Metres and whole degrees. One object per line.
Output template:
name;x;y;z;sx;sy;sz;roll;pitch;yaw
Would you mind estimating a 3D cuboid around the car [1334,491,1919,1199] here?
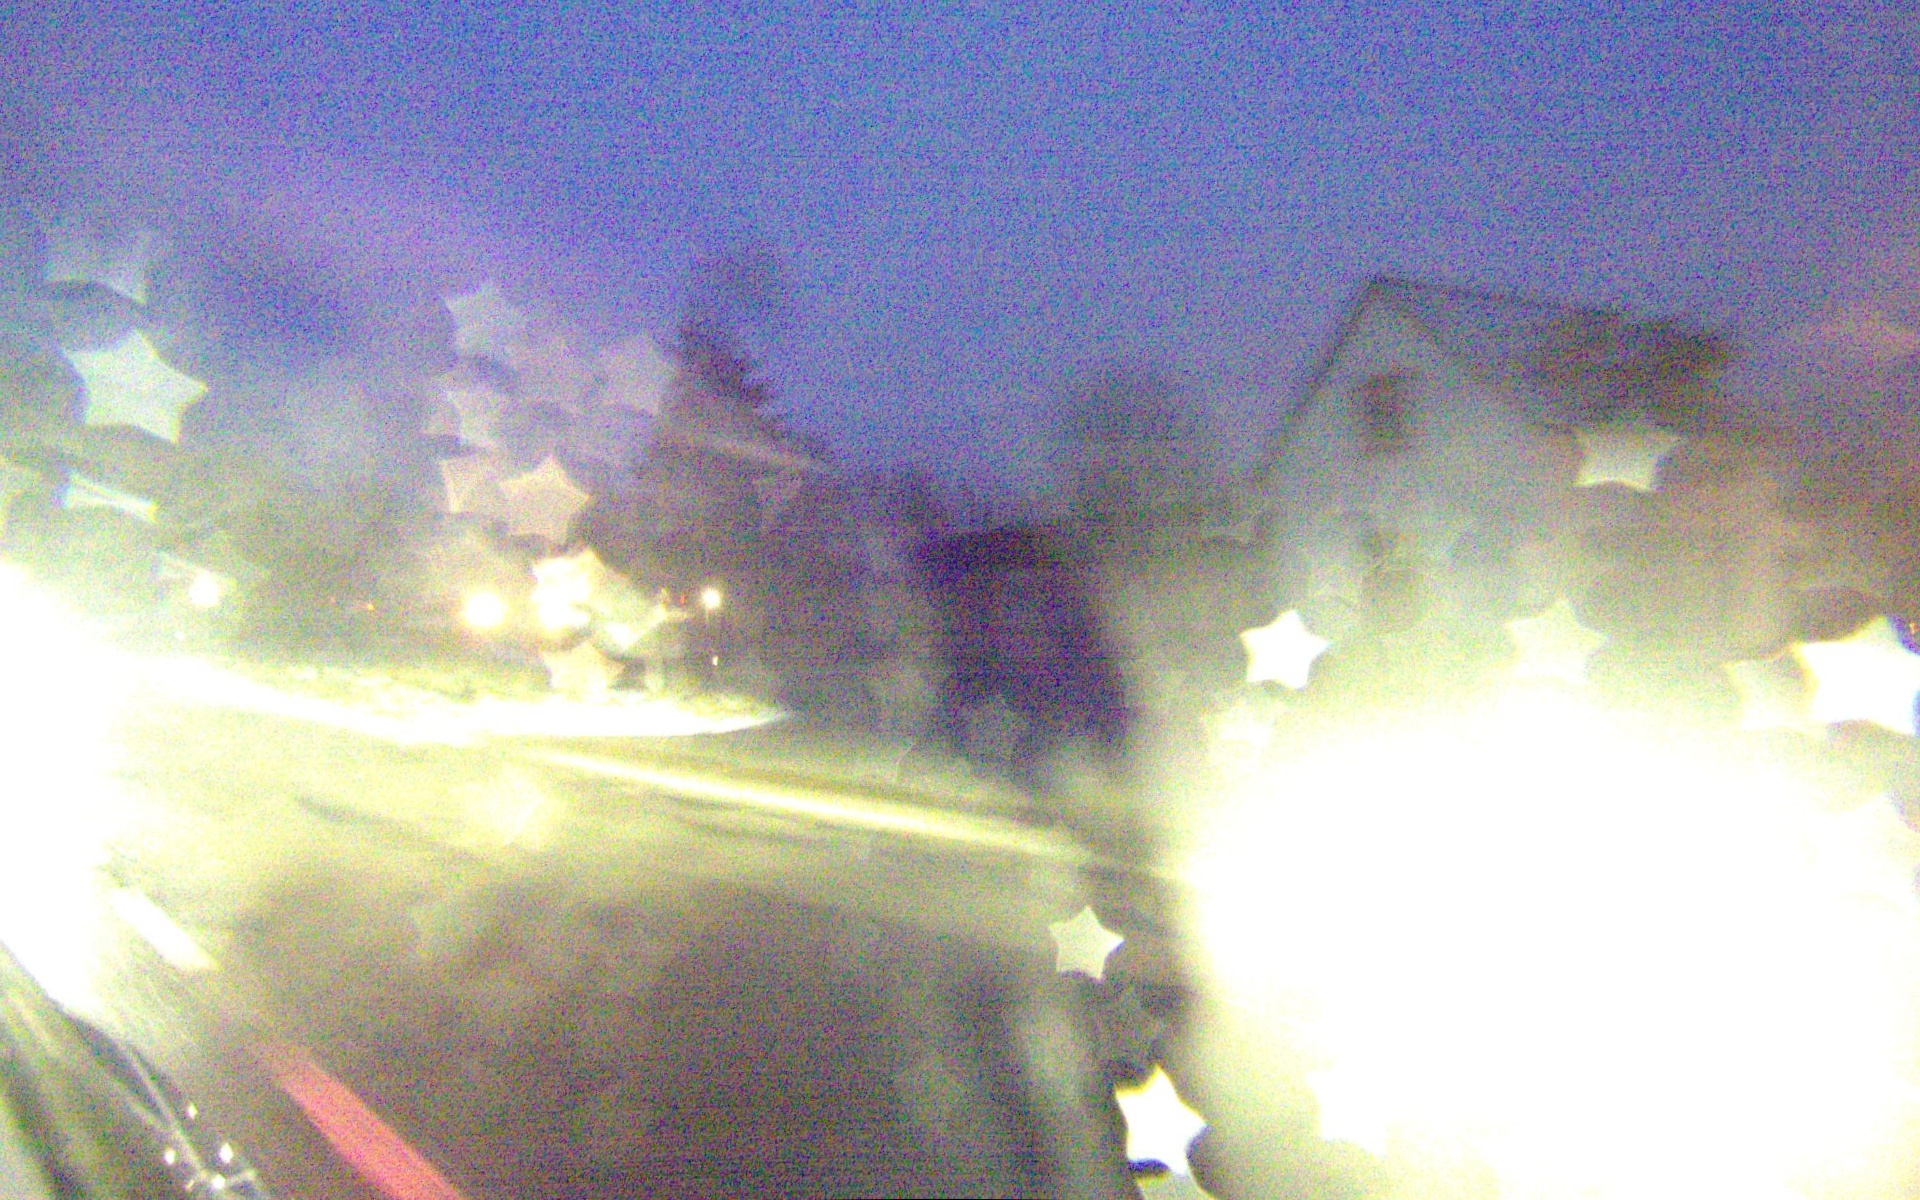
car;2.959;0.599;1.104;4.396;1.533;1.936;-1;0;40
